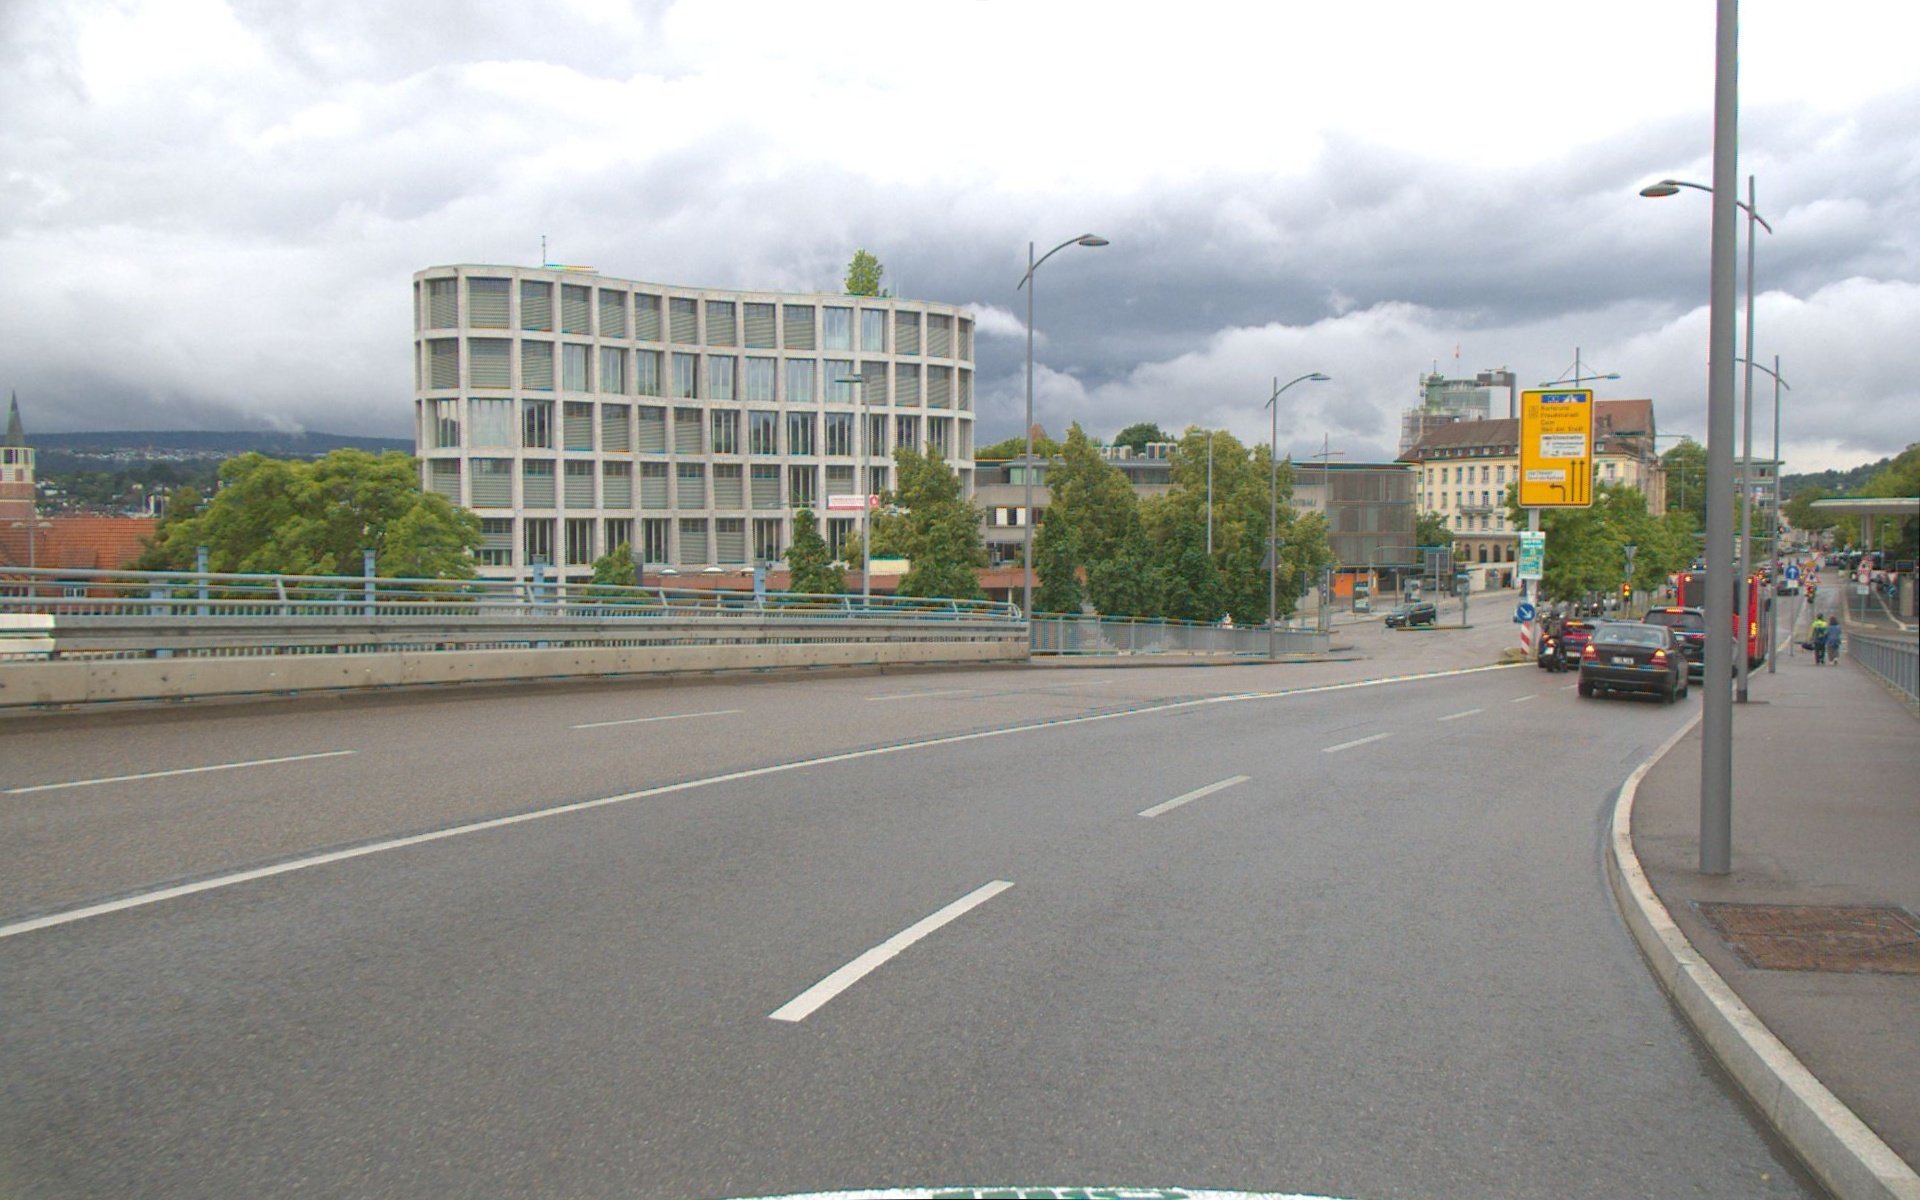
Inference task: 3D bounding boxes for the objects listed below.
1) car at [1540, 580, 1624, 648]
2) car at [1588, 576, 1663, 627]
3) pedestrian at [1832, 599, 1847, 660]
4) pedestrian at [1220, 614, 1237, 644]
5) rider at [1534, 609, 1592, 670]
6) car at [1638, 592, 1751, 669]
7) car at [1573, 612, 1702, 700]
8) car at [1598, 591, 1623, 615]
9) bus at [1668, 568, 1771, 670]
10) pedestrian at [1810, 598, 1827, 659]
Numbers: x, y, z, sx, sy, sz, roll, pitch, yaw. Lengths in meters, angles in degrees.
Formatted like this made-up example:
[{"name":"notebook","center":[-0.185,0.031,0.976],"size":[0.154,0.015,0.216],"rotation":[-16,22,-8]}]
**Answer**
[{"name":"car","center":[20.265,0.444,53.786],"size":[1.956,2.041,3.994],"rotation":[3,1,29]},{"name":"car","center":[20.713,0.042,51.395],"size":[1.727,1.461,3.994],"rotation":[3,1,28]},{"name":"pedestrian","center":[29.999,1.009,56.420],"size":[0.416,2.049,0.482],"rotation":[1,-2,30]},{"name":"pedestrian","center":[12.937,1.382,79.765],"size":[0.636,1.433,0.529],"rotation":[1,1,31]},{"name":"rider","center":[15.731,1.019,43.114],"size":[0.866,1.497,2.189],"rotation":[4,1,34]},{"name":"car","center":[18.112,0.731,40.711],"size":[1.796,1.716,3.987],"rotation":[3,1,34]},{"name":"car","center":[12.824,0.995,31.194],"size":[1.675,1.444,3.718],"rotation":[3,2,30]},{"name":"car","center":[57.173,0.279,145.469],"size":[1.953,2.049,4.202],"rotation":[1,-1,21]},{"name":"bus","center":[27.550,0.667,59.745],"size":[2.773,3.245,10.295],"rotation":[3,1,27]},{"name":"pedestrian","center":[29.440,0.983,56.698],"size":[0.480,2.049,0.469],"rotation":[1,-2,30]}]
